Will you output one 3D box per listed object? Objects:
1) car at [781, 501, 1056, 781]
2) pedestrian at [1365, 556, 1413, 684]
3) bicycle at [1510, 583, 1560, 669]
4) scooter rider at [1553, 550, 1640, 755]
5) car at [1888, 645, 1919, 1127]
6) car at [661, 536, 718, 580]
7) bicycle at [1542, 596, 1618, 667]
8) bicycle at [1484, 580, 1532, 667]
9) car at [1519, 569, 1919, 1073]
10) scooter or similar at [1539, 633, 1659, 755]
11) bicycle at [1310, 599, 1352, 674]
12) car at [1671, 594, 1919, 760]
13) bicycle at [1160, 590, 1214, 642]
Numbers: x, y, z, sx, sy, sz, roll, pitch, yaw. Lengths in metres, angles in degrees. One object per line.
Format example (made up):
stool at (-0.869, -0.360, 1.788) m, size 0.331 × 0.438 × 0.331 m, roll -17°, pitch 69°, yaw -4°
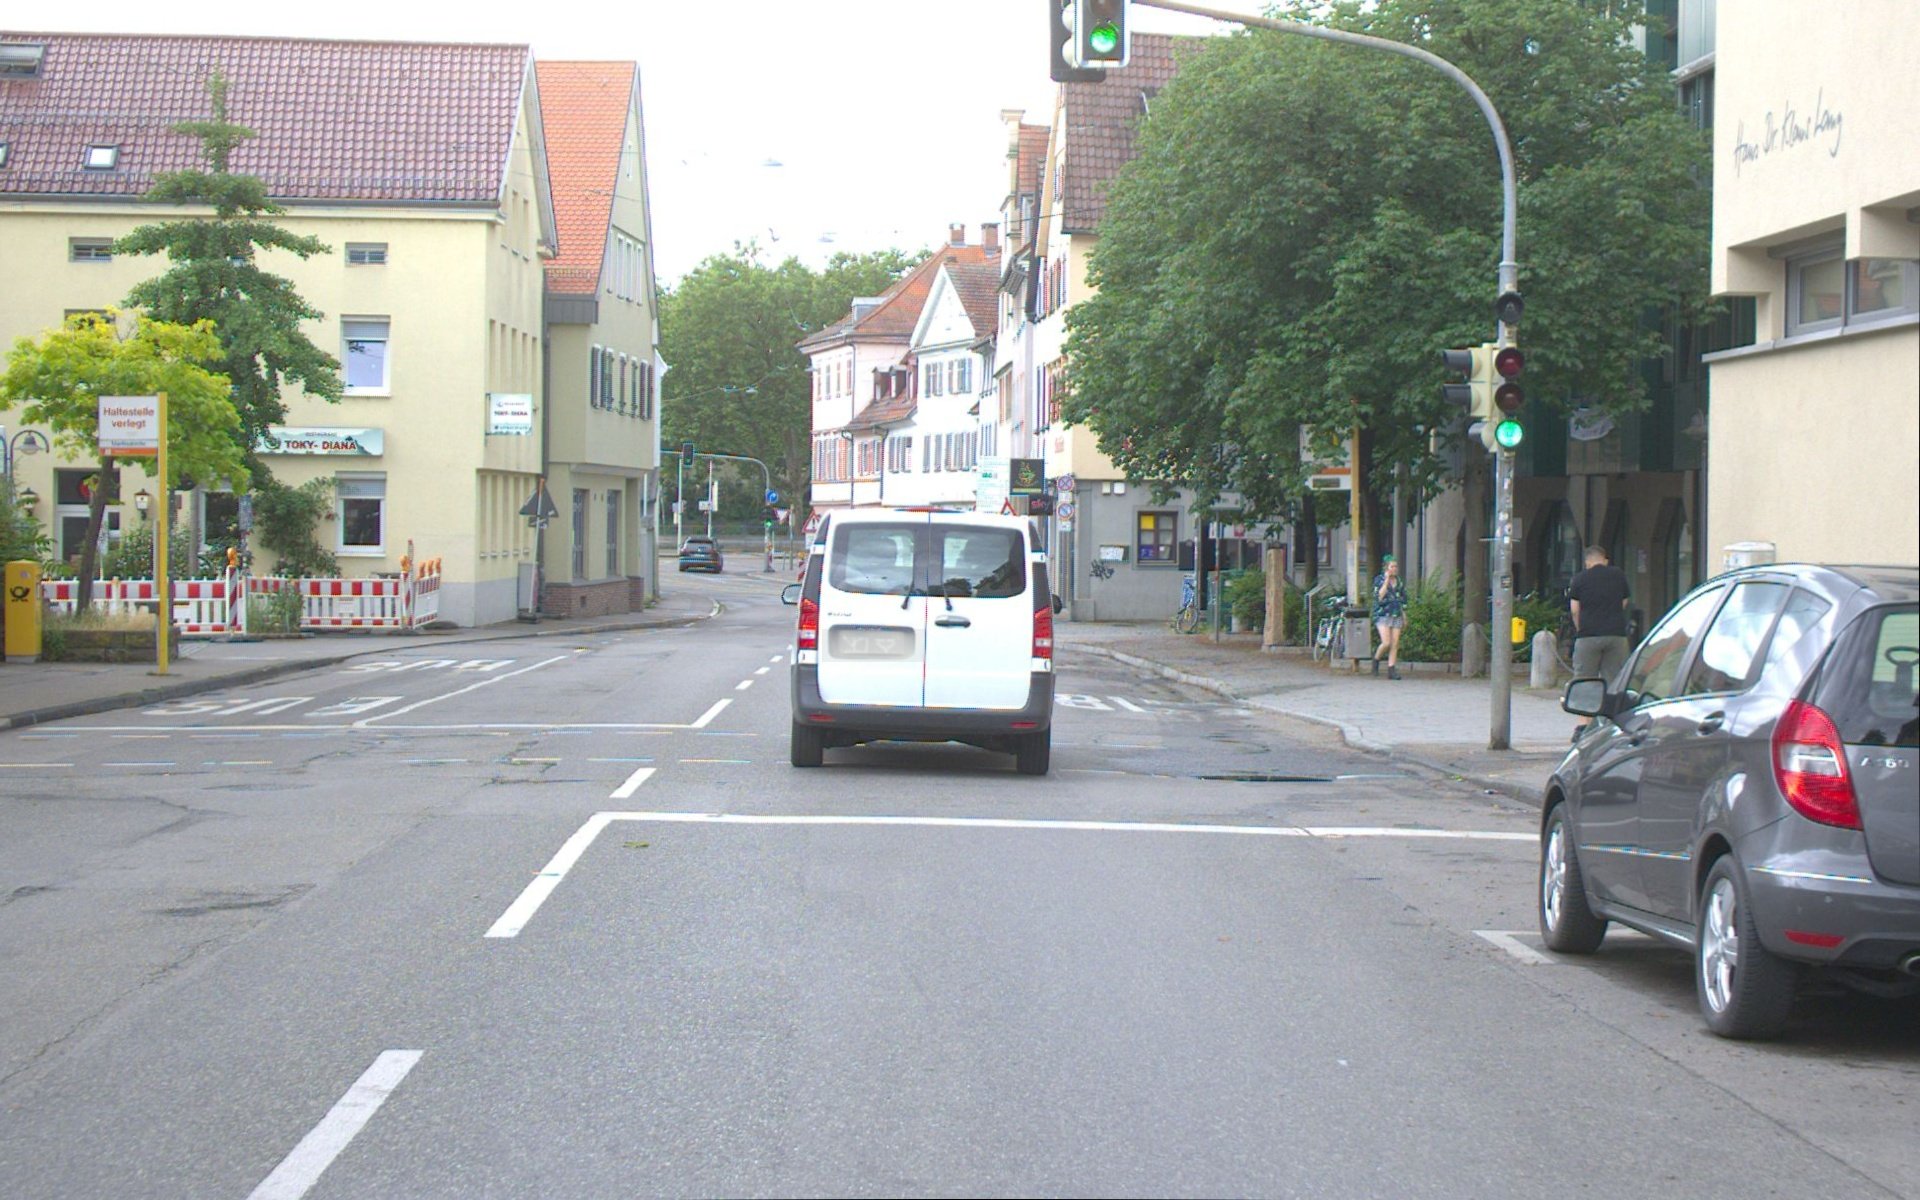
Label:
car at (-0.281, 0.284, 25.779) m, size 1.872 × 1.905 × 4.000 m, roll 1°, pitch 0°, yaw 0°
pedestrian at (5.788, 0.266, 46.391) m, size 0.602 × 1.710 × 0.859 m, roll 1°, pitch 0°, yaw 6°
bicycle at (8.841, 0.391, 52.909) m, size 0.333 × 1.296 × 1.959 m, roll 2°, pitch 0°, yaw -2°
scooter rider at (5.139, 0.425, 27.755) m, size 0.452 × 1.626 × 0.505 m, roll -2°, pitch -1°, yaw -15°
car at (3.493, 0.819, 7.925) m, size 1.551 × 1.328 × 3.812 m, roll 1°, pitch 0°, yaw -2°
car at (-13.123, -2.035, 166.820) m, size 1.934 × 2.007 × 4.001 m, roll 2°, pitch 0°, yaw -16°
bicycle at (9.555, 0.476, 53.059) m, size 0.544 × 1.066 × 2.292 m, roll 0°, pitch 0°, yaw -6°
bicycle at (8.424, 0.348, 52.883) m, size 0.333 × 1.296 × 1.959 m, roll 2°, pitch 0°, yaw -2°
car at (3.276, 0.684, 12.579) m, size 1.711 × 1.555 × 3.786 m, roll 1°, pitch 0°, yaw -2°
scooter or similar at (5.152, 0.757, 27.754) m, size 0.661 × 0.942 × 0.820 m, roll -2°, pitch -1°, yaw -12°
bicycle at (5.767, 0.555, 53.516) m, size 0.333 × 1.137 × 1.959 m, roll 2°, pitch 0°, yaw -2°
car at (9.621, 0.791, 34.839) m, size 4.512 × 1.568 × 1.852 m, roll 2°, pitch 0°, yaw 6°
bicycle at (4.869, 0.338, 73.889) m, size 0.499 × 1.102 × 1.638 m, roll 0°, pitch 0°, yaw -21°
